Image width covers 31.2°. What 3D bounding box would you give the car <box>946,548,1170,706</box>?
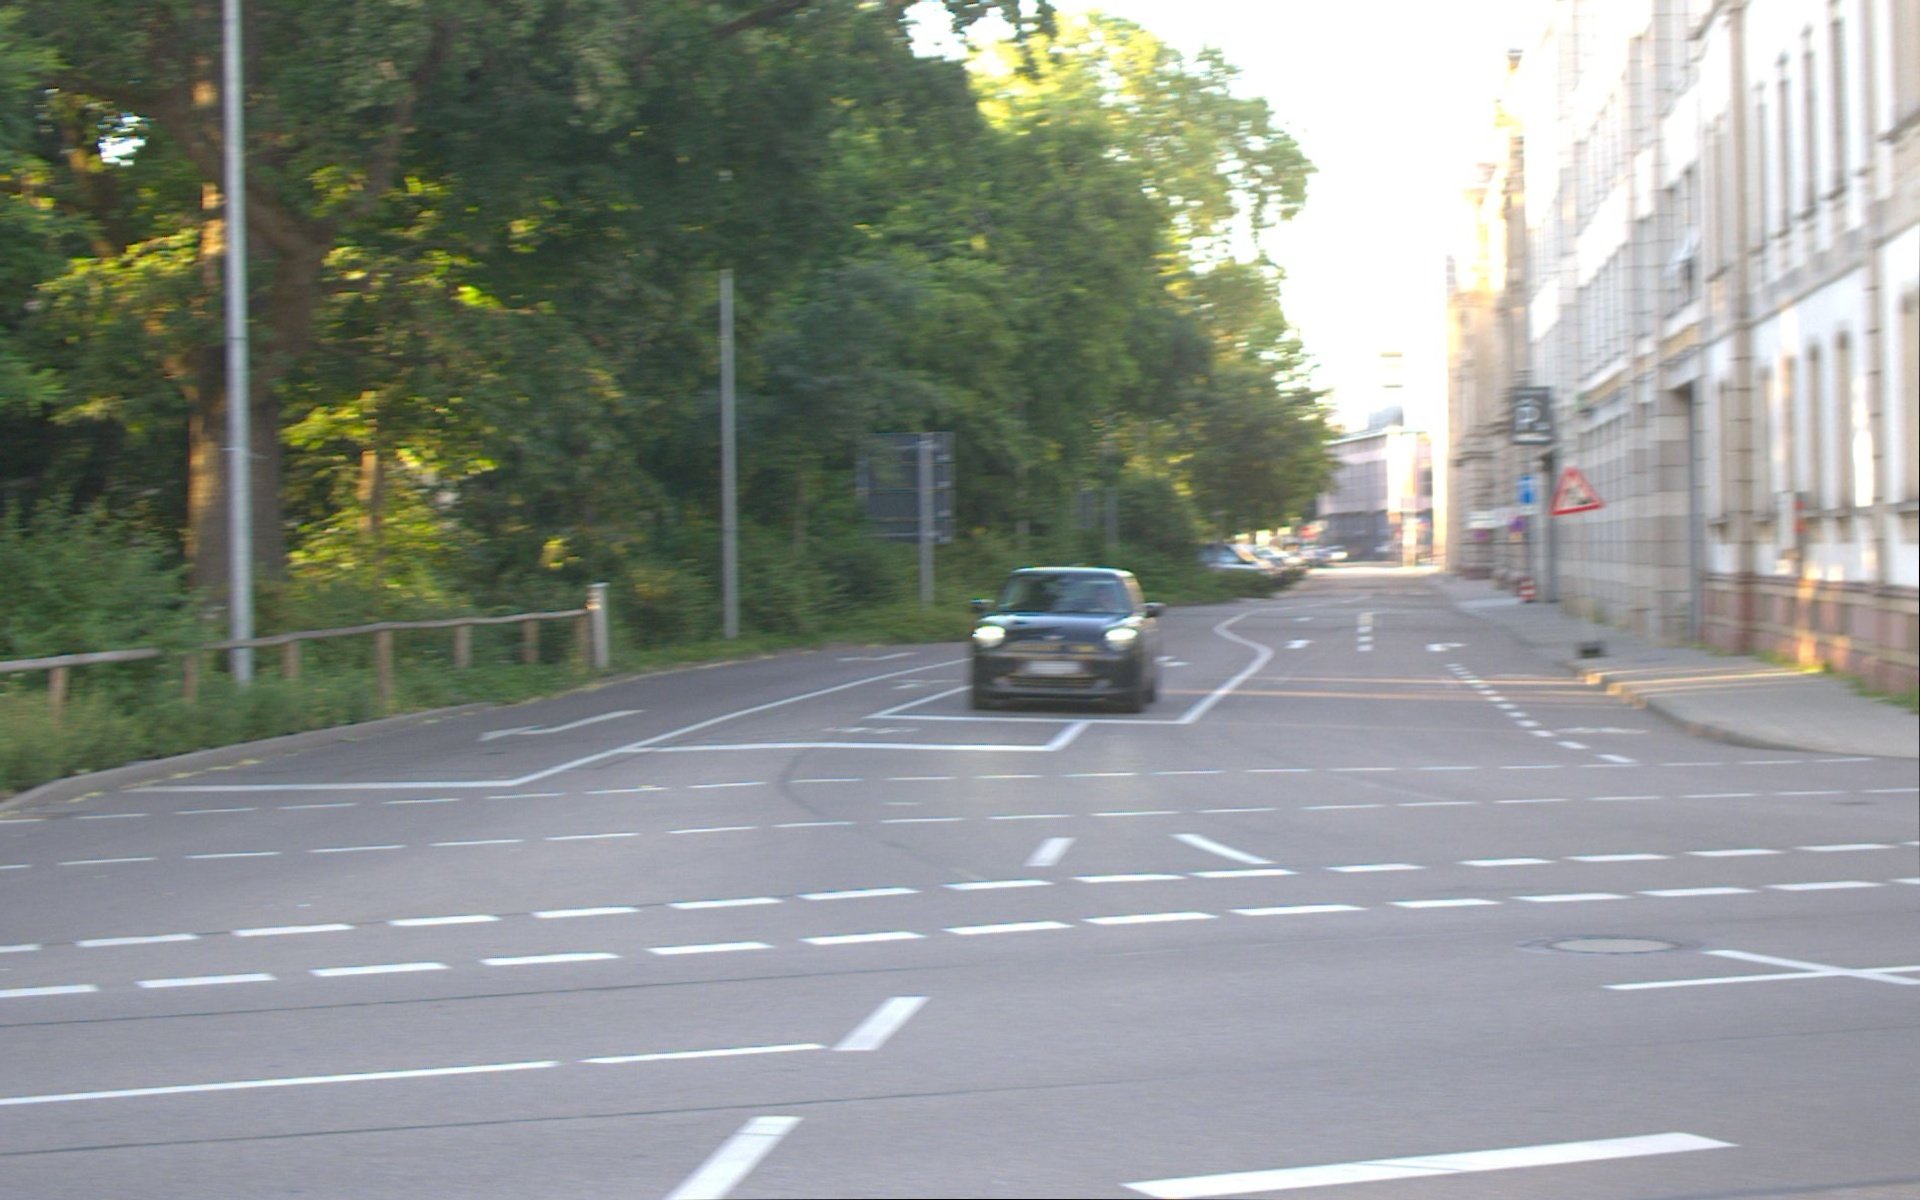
[{"bbox_3d":[1.057,0.240,35.094,1.824,1.511,3.575,0,1,9],"label":"car"}]
